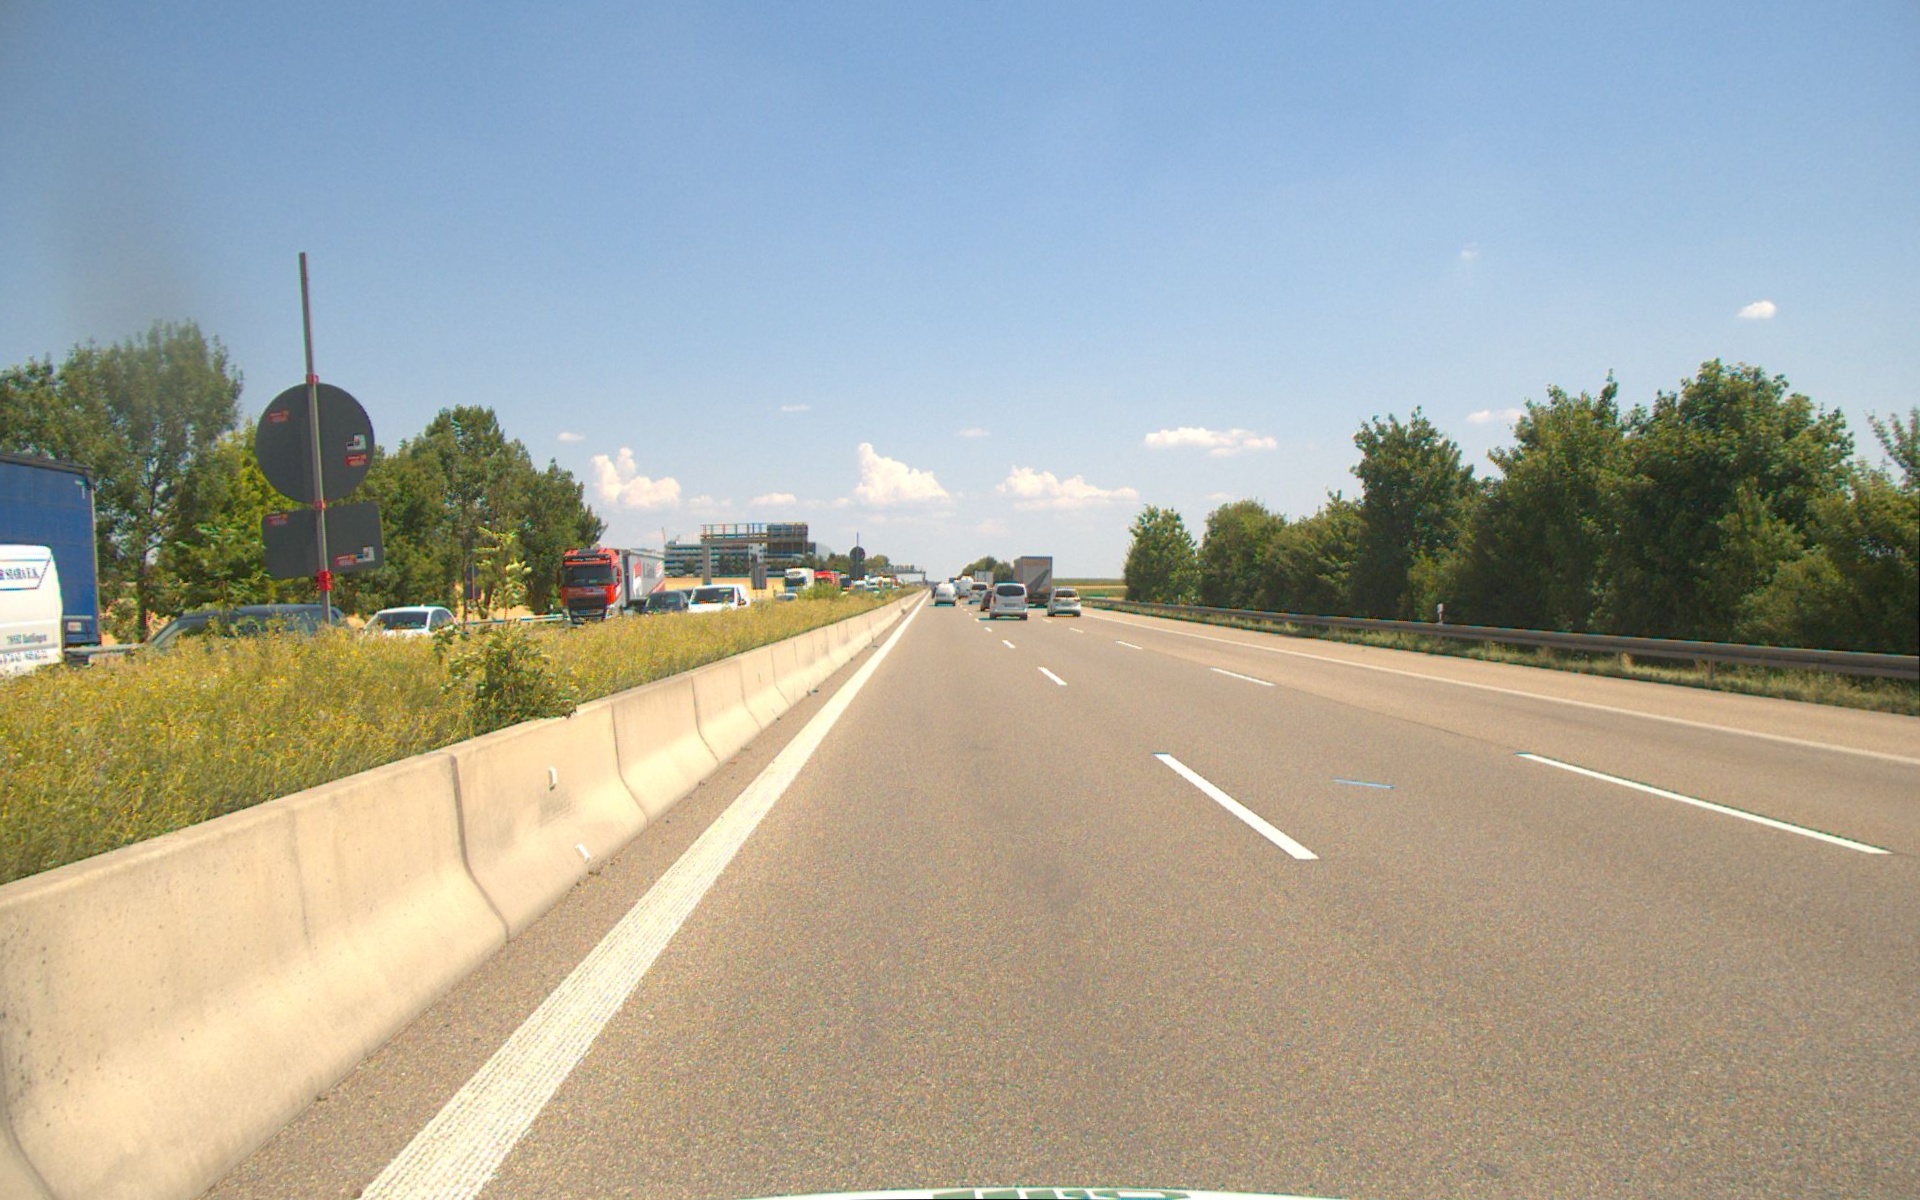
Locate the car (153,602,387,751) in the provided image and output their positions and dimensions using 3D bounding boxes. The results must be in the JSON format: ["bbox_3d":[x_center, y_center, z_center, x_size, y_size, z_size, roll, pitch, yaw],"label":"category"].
[{"bbox_3d":[-7.660,0.789,18.640,1.357,1.494,3.195,-1,0,-2],"label":"car"}]

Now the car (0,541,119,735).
[{"bbox_3d":[-11.217,0.418,16.942,2.139,2.049,5.763,-1,0,1],"label":"car"}]

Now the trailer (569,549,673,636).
[{"bbox_3d":[-16.794,-0.385,82.860,2.798,3.922,12.183,-2,0,-1],"label":"trailer"}]

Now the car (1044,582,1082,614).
[{"bbox_3d":[6.124,-0.089,98.336,1.953,1.825,3.999,0,-1,-1],"label":"car"}]

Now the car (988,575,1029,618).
[{"bbox_3d":[2.519,-0.164,86.650,1.953,2.157,3.999,0,-1,-1],"label":"car"}]

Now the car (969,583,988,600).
[{"bbox_3d":[1.732,-0.799,155.542,1.737,1.473,3.999,0,-1,-1],"label":"car"}]

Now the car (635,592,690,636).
[{"bbox_3d":[-12.598,0.571,70.187,1.660,1.757,4.260,-1,0,-2],"label":"car"}]

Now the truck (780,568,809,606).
[{"bbox_3d":[-19.250,-1.503,192.682,2.890,4.230,5.470,-2,0,-1],"label":"truck"}]

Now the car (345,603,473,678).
[{"bbox_3d":[-11.992,0.846,36.200,1.584,1.489,3.863,-1,0,-2],"label":"car"}]

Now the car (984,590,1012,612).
[{"bbox_3d":[2.627,0.083,114.884,1.737,1.473,3.999,0,-1,-1],"label":"car"}]

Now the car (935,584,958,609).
[{"bbox_3d":[-1.143,-0.275,139.510,1.953,2.049,3.999,0,-1,-1],"label":"car"}]

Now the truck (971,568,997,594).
[{"bbox_3d":[3.679,-3.015,260.942,3.738,3.973,9.578,-1,0,-1],"label":"truck"}]

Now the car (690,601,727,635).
[{"bbox_3d":[-16.026,1.110,105.629,1.726,1.986,5.116,-2,0,-2],"label":"car"}]

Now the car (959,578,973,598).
[{"bbox_3d":[0.749,-1.488,208.664,1.737,2.434,3.999,0,-1,-1],"label":"car"}]

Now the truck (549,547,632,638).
[{"bbox_3d":[-16.646,-0.340,74.770,2.798,3.922,3.999,-2,0,-1],"label":"truck"}]

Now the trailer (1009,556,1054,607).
[{"bbox_3d":[5.898,-1.439,137.506,3.211,4.037,9.110,0,-1,-1],"label":"trailer"}]

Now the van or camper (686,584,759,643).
[{"bbox_3d":[-8.297,0.434,58.109,1.953,1.967,5.200,-1,0,-2],"label":"van or camper"}]

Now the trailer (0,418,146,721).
[{"bbox_3d":[-15.388,-0.417,21.606,2.824,4.426,13.640,-1,0,-1],"label":"trailer"}]
